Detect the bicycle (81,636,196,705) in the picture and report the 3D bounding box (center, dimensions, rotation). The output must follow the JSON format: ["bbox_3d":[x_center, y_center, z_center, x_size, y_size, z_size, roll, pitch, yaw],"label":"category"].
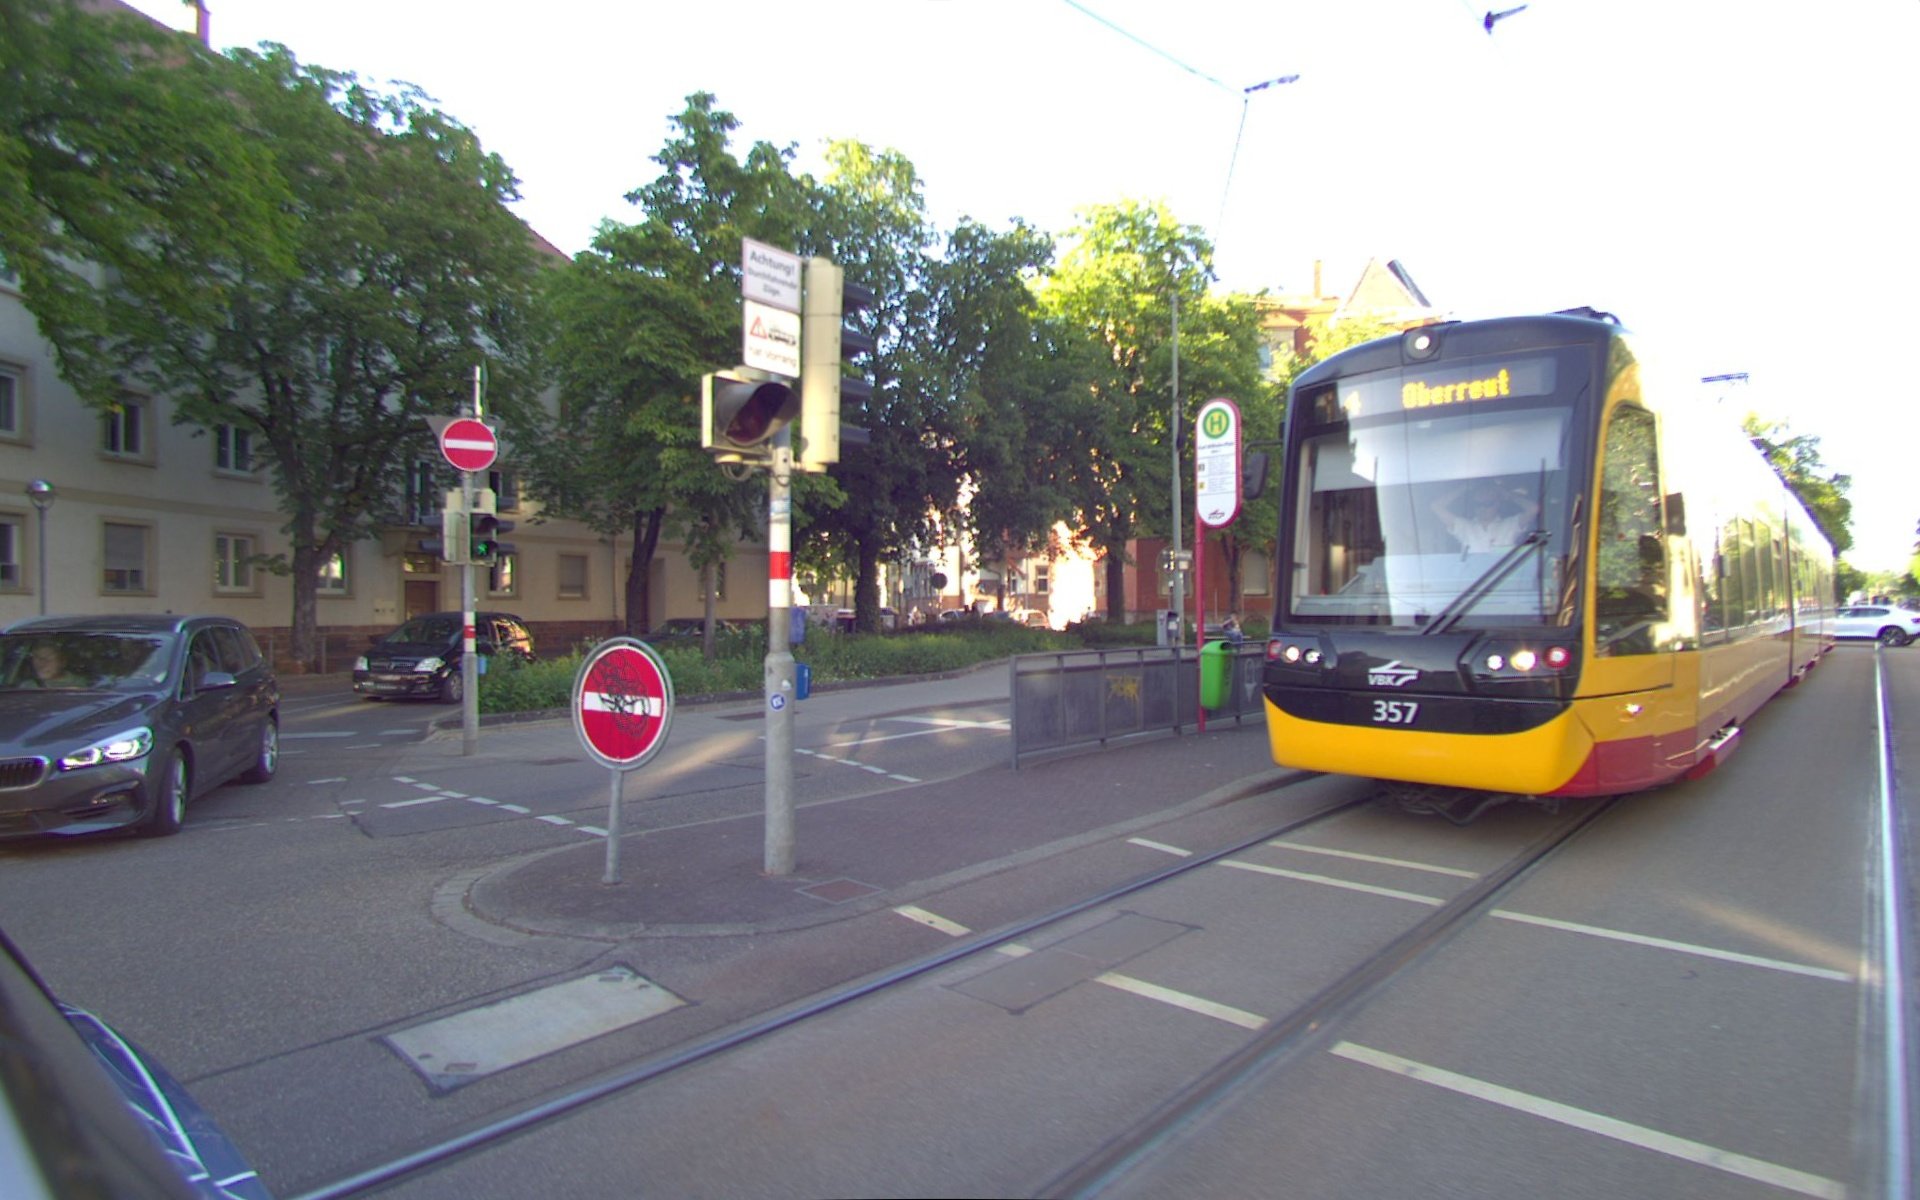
[{"bbox_3d":[-14.332,1.203,17.718,0.520,1.116,1.739,2,-1,2],"label":"bicycle"}]

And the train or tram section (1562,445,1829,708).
[{"bbox_3d":[14.550,-0.264,19.365,2.786,3.614,12.246,-2,-1,42],"label":"train or tram section"}]

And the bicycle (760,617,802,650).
[{"bbox_3d":[-7.236,1.343,40.984,0.763,1.315,1.888,0,-1,23],"label":"bicycle"}]

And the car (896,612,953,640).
[{"bbox_3d":[-2.120,1.536,59.832,1.775,1.564,4.199,1,-2,-27],"label":"car"}]

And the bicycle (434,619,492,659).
[{"bbox_3d":[-14.774,1.140,30.157,0.792,1.127,1.857,0,-1,1],"label":"bicycle"}]

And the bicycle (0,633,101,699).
[{"bbox_3d":[-17.040,1.184,18.618,0.661,1.116,1.963,-1,-1,6],"label":"bicycle"}]

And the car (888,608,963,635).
[{"bbox_3d":[-1.894,1.169,55.327,3.739,1.436,1.681,0,-1,-29],"label":"car"}]

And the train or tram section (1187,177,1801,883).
[{"bbox_3d":[6.548,-0.316,10.491,2.800,3.647,11.635,-2,-1,42],"label":"train or tram section"}]

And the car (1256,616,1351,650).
[{"bbox_3d":[15.553,1.478,45.819,3.971,1.454,1.964,-1,-1,21],"label":"car"}]

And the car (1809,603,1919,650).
[{"bbox_3d":[33.970,0.946,37.162,1.919,1.660,4.006,0,-1,-40],"label":"car"}]

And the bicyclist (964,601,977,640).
[{"bbox_3d":[0.410,0.835,40.879,0.494,1.585,0.495,0,-1,-2],"label":"bicyclist"}]

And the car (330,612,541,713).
[{"bbox_3d":[-9.502,1.072,18.677,1.661,1.641,3.679,1,-1,7],"label":"car"}]

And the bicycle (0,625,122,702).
[{"bbox_3d":[-16.398,1.114,18.317,0.710,1.287,1.963,1,-1,5],"label":"bicycle"}]

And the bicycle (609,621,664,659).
[{"bbox_3d":[-10.889,1.328,34.089,0.715,1.232,1.900,0,-1,22],"label":"bicycle"}]

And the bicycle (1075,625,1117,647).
[{"bbox_3d":[6.837,1.800,50.907,1.971,1.065,0.633,-1,-1,26],"label":"bicycle"}]

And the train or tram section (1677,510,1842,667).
[{"bbox_3d":[22.854,-0.203,28.561,2.773,3.584,12.504,-2,-1,42],"label":"train or tram section"}]

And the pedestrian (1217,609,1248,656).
[{"bbox_3d":[8.564,1.019,31.777,0.591,1.454,0.711,0,-1,-41],"label":"pedestrian"}]

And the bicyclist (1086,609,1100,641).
[{"bbox_3d":[6.692,1.240,50.988,0.552,1.585,0.593,-1,-1,25],"label":"bicyclist"}]

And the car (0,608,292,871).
[{"bbox_3d":[-6.859,0.920,8.038,1.763,1.590,4.274,1,-2,-22],"label":"car"}]

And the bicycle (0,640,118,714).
[{"bbox_3d":[-14.339,1.190,16.057,0.476,1.072,1.633,2,-2,4],"label":"bicycle"}]

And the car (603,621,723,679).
[{"bbox_3d":[-8.163,1.319,28.121,1.663,1.419,3.674,1,0,12],"label":"car"}]
